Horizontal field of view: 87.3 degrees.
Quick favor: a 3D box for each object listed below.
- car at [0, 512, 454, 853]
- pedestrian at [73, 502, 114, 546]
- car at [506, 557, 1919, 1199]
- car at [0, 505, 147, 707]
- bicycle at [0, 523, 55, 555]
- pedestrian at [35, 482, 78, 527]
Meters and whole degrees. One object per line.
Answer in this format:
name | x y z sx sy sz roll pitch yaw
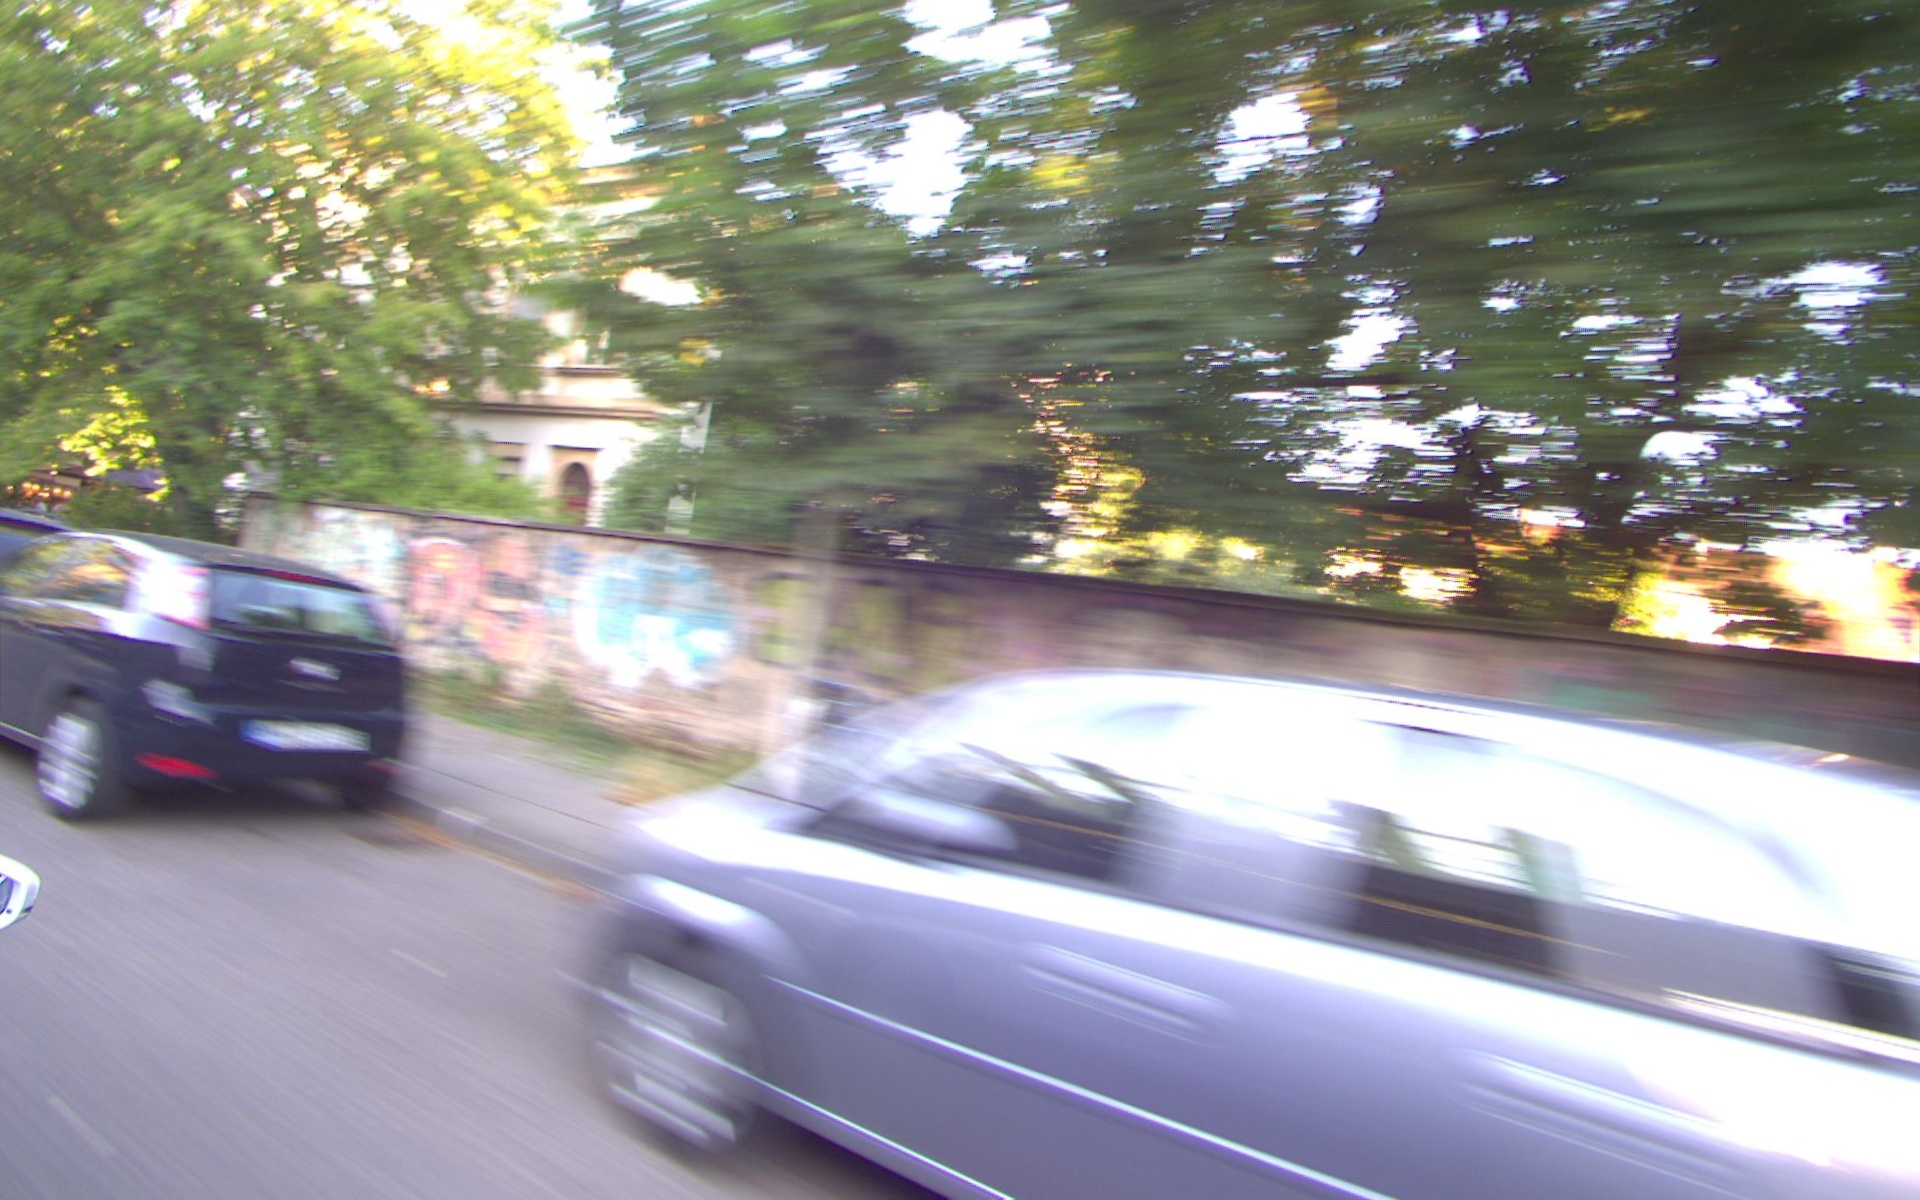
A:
car | -5.145 0.352 6.368 3.711 1.493 1.601 7 -3 31
pedestrian | -33.818 -2.966 39.277 0.747 1.497 0.776 9 -2 21
car | 0.756 0.976 2.911 3.809 1.621 1.764 7 -3 31
car | -8.969 -0.174 8.633 4.048 1.493 1.700 7 -3 32
bicycle | -33.404 -2.197 35.642 0.393 0.894 1.977 9 -3 18
pedestrian | -34.266 -3.614 38.160 0.747 1.497 0.776 9 -2 21
